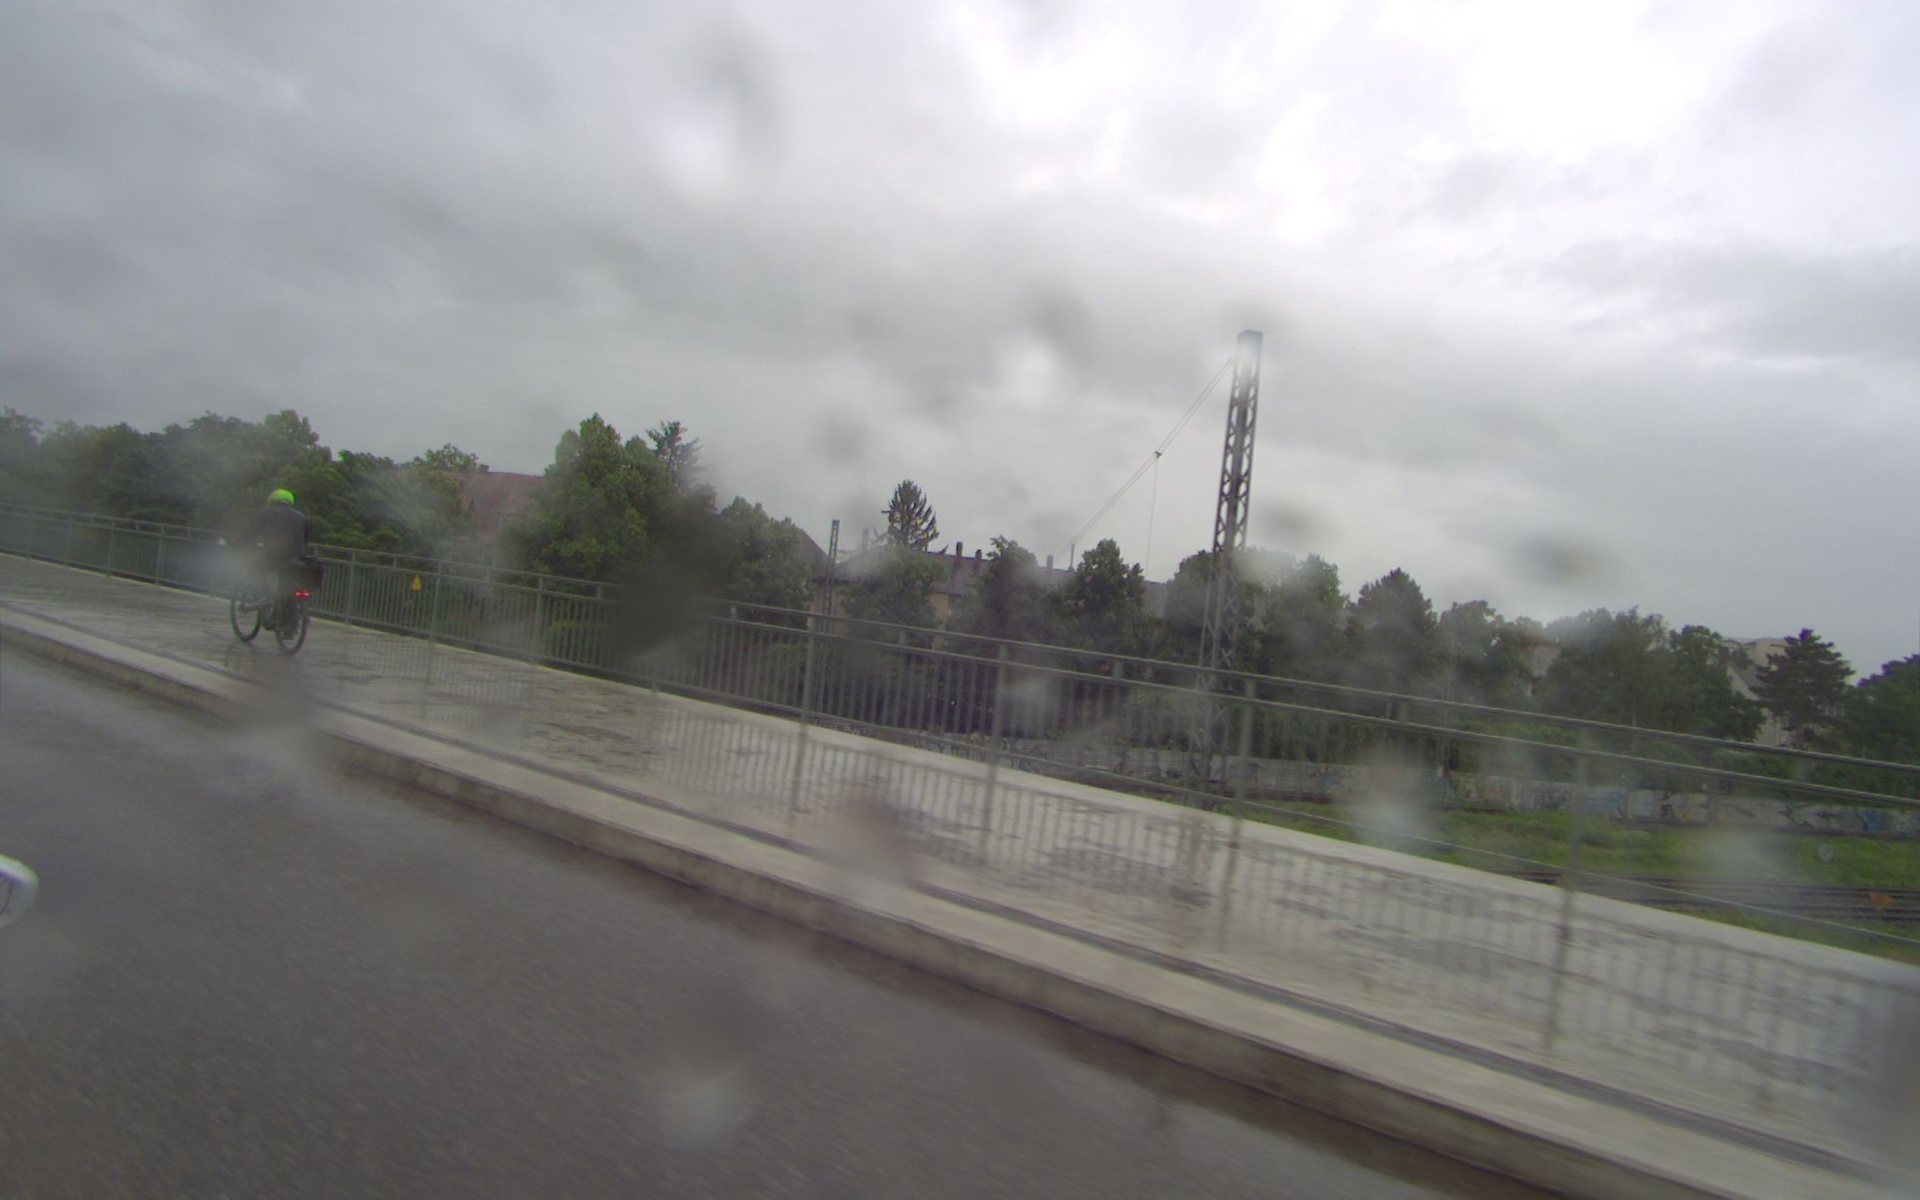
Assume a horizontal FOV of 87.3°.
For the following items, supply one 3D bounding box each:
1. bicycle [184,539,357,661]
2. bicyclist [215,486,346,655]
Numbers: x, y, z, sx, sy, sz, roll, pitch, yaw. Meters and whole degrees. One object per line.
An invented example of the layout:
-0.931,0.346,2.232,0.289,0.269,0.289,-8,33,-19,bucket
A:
-7.880,-0.011,11.468,2.132,1.141,0.725,6,-3,32,bicycle
-7.717,-0.332,11.429,0.934,1.783,0.727,5,-3,32,bicyclist
